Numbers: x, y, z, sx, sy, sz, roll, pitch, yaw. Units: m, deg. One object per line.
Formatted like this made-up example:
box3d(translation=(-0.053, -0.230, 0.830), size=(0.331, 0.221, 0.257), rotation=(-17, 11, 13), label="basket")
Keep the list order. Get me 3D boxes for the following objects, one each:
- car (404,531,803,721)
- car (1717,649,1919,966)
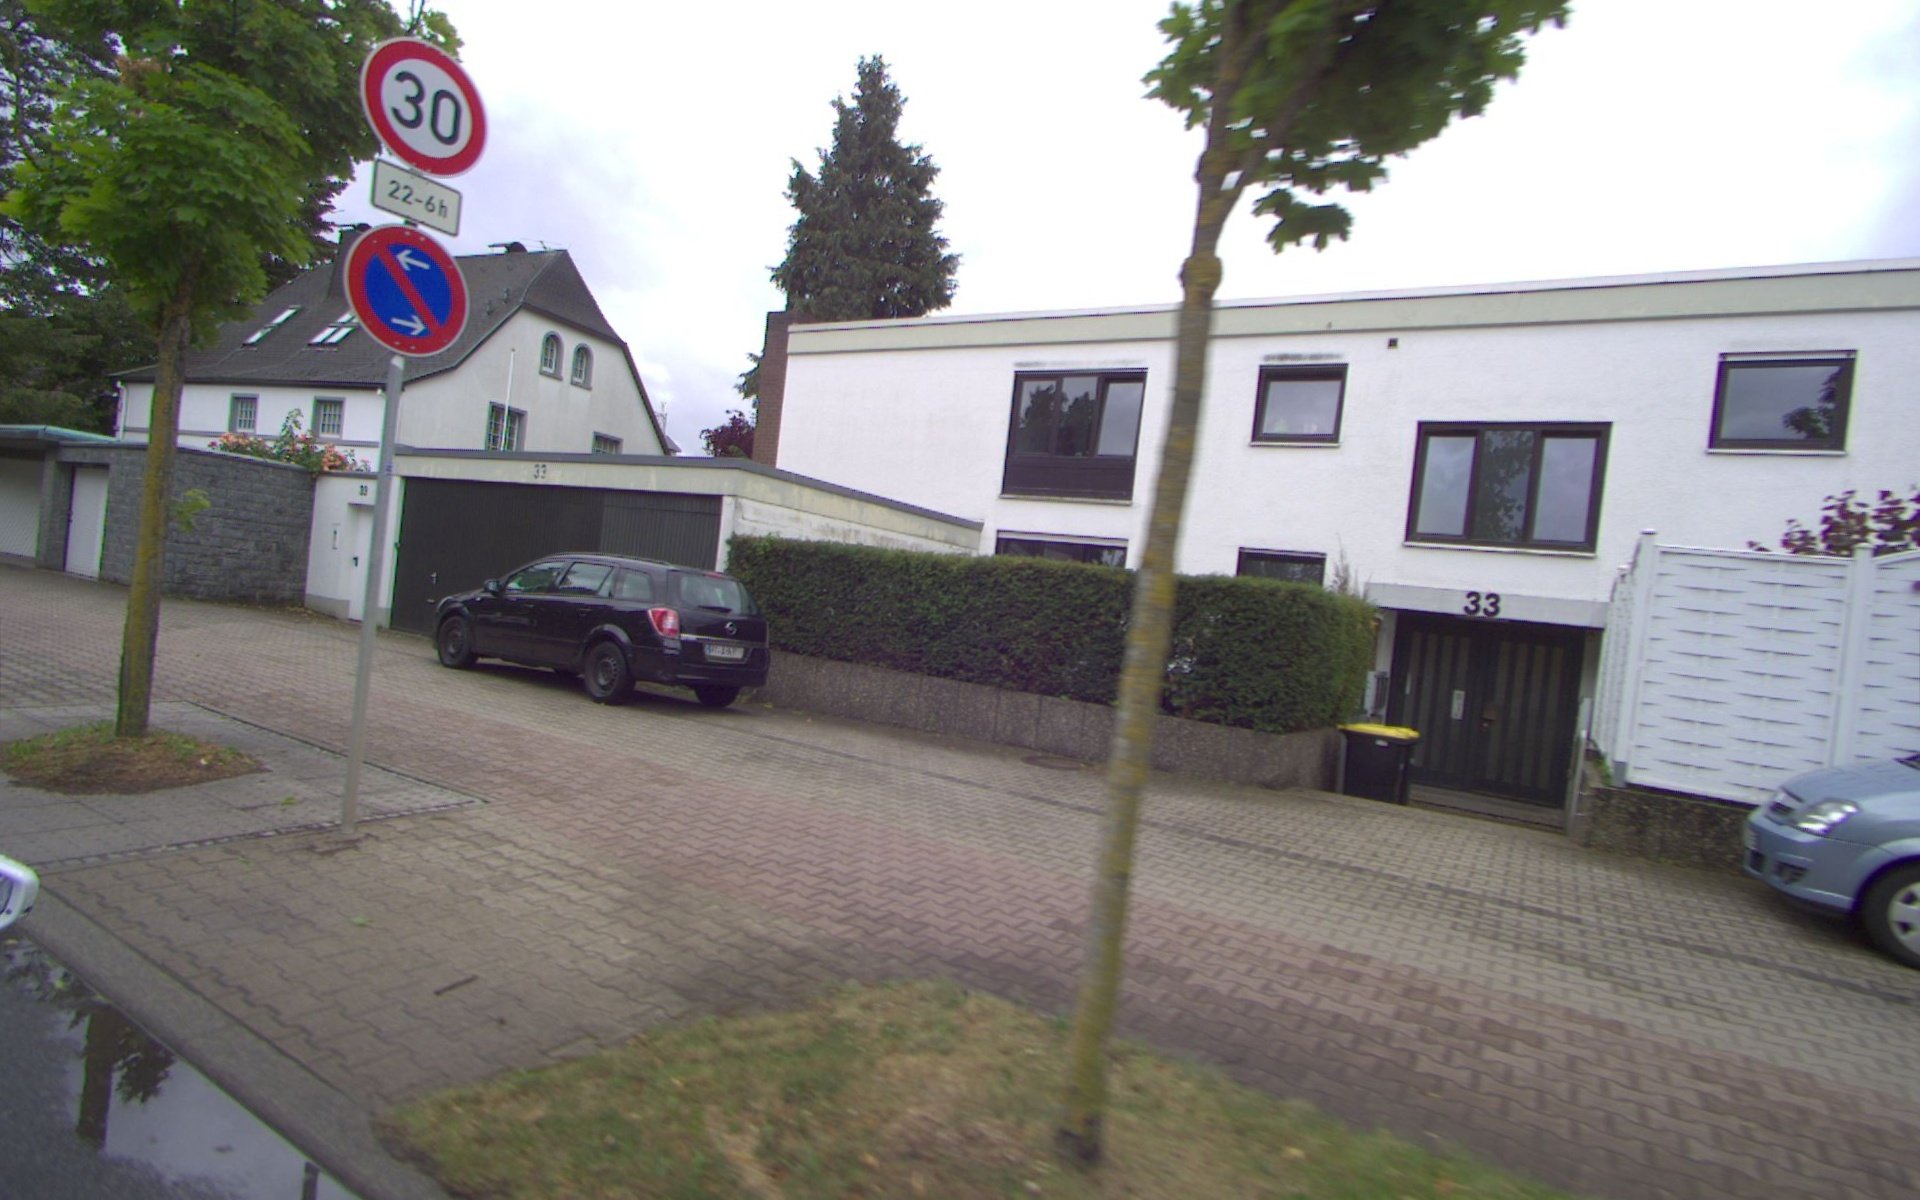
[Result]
box3d(translation=(-4.095, 0.216, 11.284), size=(4.470, 1.517, 1.772), rotation=(6, 0, 33), label="car")
box3d(translation=(6.748, 1.329, 5.462), size=(3.935, 1.631, 1.745), rotation=(6, 0, 33), label="car")
